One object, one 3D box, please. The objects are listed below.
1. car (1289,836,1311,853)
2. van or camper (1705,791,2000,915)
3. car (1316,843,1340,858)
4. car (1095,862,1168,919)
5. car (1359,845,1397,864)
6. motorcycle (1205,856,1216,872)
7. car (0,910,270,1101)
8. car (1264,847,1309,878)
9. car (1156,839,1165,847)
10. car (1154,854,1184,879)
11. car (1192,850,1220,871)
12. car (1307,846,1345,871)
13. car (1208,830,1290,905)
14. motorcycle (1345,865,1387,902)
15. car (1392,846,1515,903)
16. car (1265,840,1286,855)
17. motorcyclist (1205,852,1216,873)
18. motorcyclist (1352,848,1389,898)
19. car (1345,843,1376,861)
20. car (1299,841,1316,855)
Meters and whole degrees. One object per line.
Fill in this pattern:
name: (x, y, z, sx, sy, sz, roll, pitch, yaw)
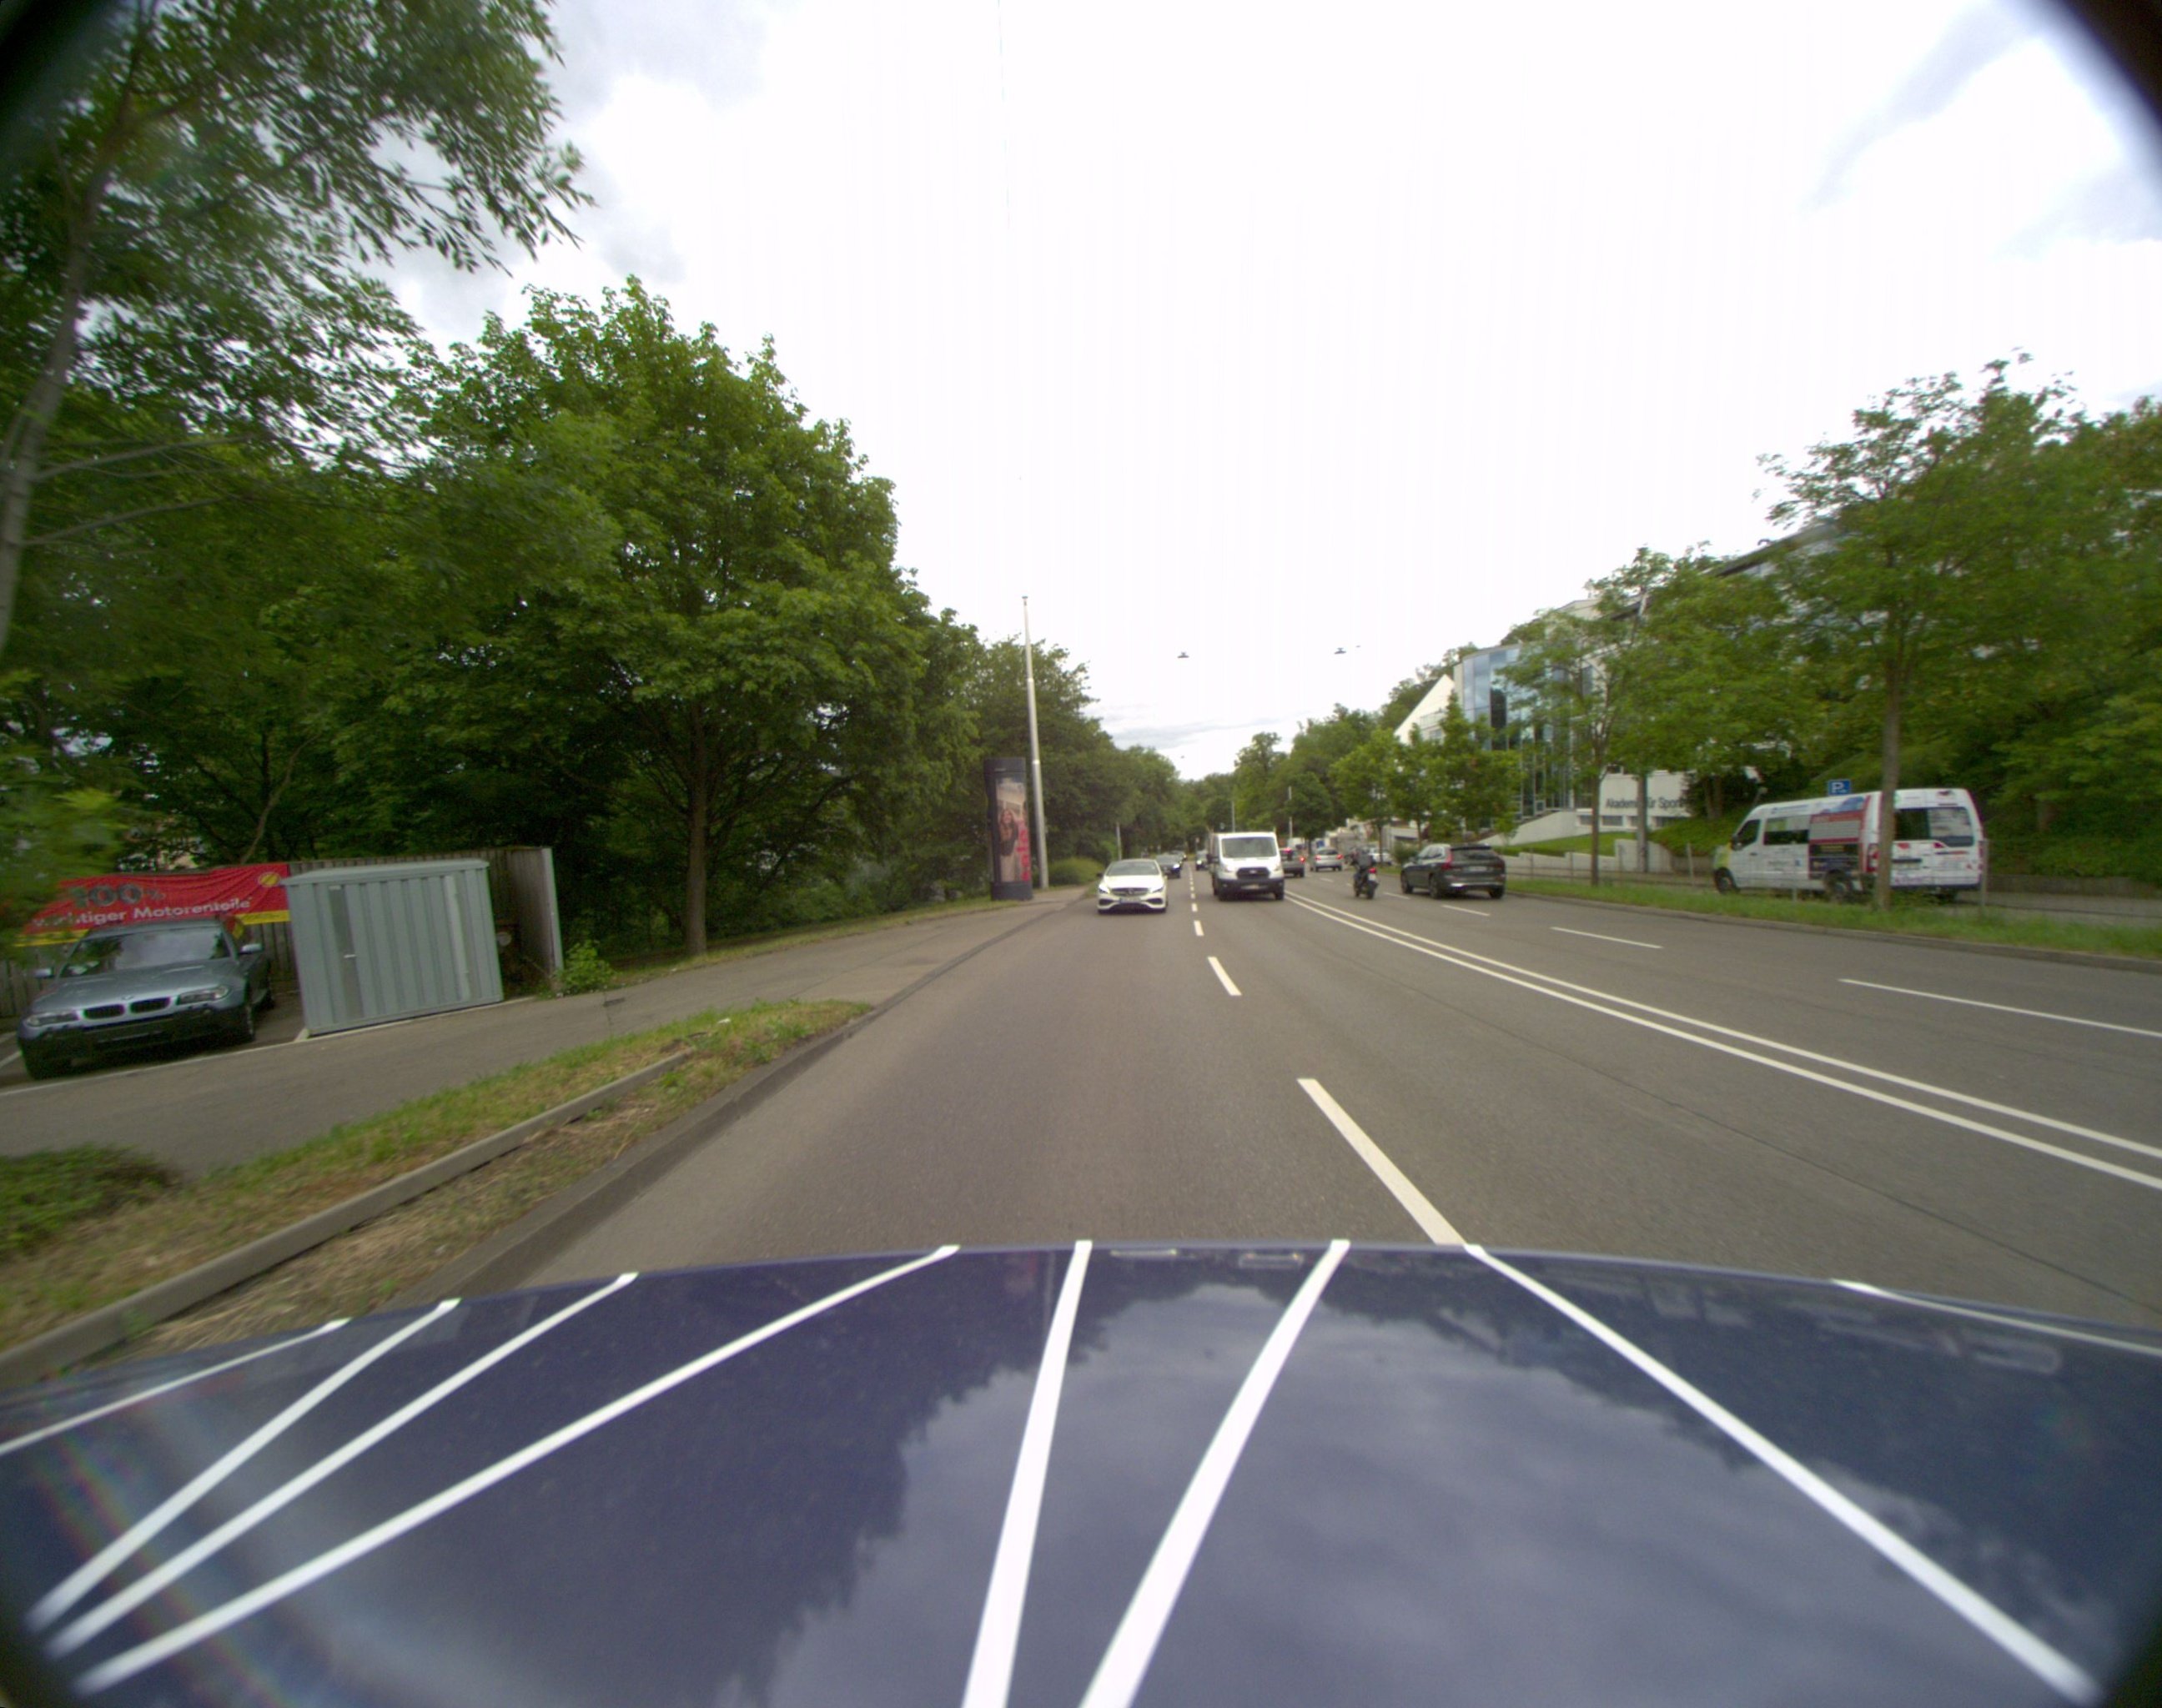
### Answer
car: (34.293, -1.522, 119.298, 1.998, 2.511, 6.536, -3, 0, 6)
van or camper: (17.903, -0.047, 18.195, 1.997, 2.458, 5.713, -1, 1, 10)
car: (25.425, -0.393, 78.333, 1.671, 1.495, 4.241, -1, 1, 10)
car: (1.463, 0.938, 20.928, 1.820, 1.339, 4.001, -1, 1, 6)
car: (23.551, 0.044, 60.366, 1.676, 1.420, 4.419, 1, 1, 6)
motorcycle: (9.453, 0.710, 55.544, 0.574, 1.120, 2.296, -4, 0, 5)
car: (-12.713, 1.847, 10.523, 4.280, 1.583, 1.737, 2, 7, 45)
car: (11.072, 0.435, 41.117, 1.788, 1.530, 4.078, -2, 0, 7)
car: (18.889, -2.576, 180.896, 1.998, 1.880, 4.000, -1, 1, 2)
car: (5.579, 0.767, 48.509, 1.733, 1.403, 4.001, -3, 0, 6)
car: (10.112, 0.522, 61.725, 1.997, 1.540, 4.002, -2, 0, 6)
car: (15.538, 0.259, 48.400, 1.568, 1.423, 3.893, -3, 0, 7)
car: (5.507, 0.397, 25.749, 1.997, 2.161, 6.271, -2, 0, 6)
motorcycle: (8.769, 0.882, 23.479, 0.484, 1.050, 2.268, -1, 1, 1)
car: (11.255, 0.569, 23.330, 1.789, 1.566, 4.469, -1, 0, 3)
car: (24.146, -0.810, 94.622, 1.767, 1.698, 4.872, -3, 0, 6)
motorcyclist: (9.405, 0.642, 55.158, 0.619, 1.463, 0.931, -4, 0, 5)
motorcyclist: (8.774, 0.549, 23.063, 0.762, 1.476, 0.961, 1, 1, 2)
car: (24.007, -0.174, 65.482, 1.676, 1.420, 4.092, -2, 0, 8)
car: (31.115, -0.884, 104.316, 1.809, 1.741, 4.254, -3, 0, 12)
